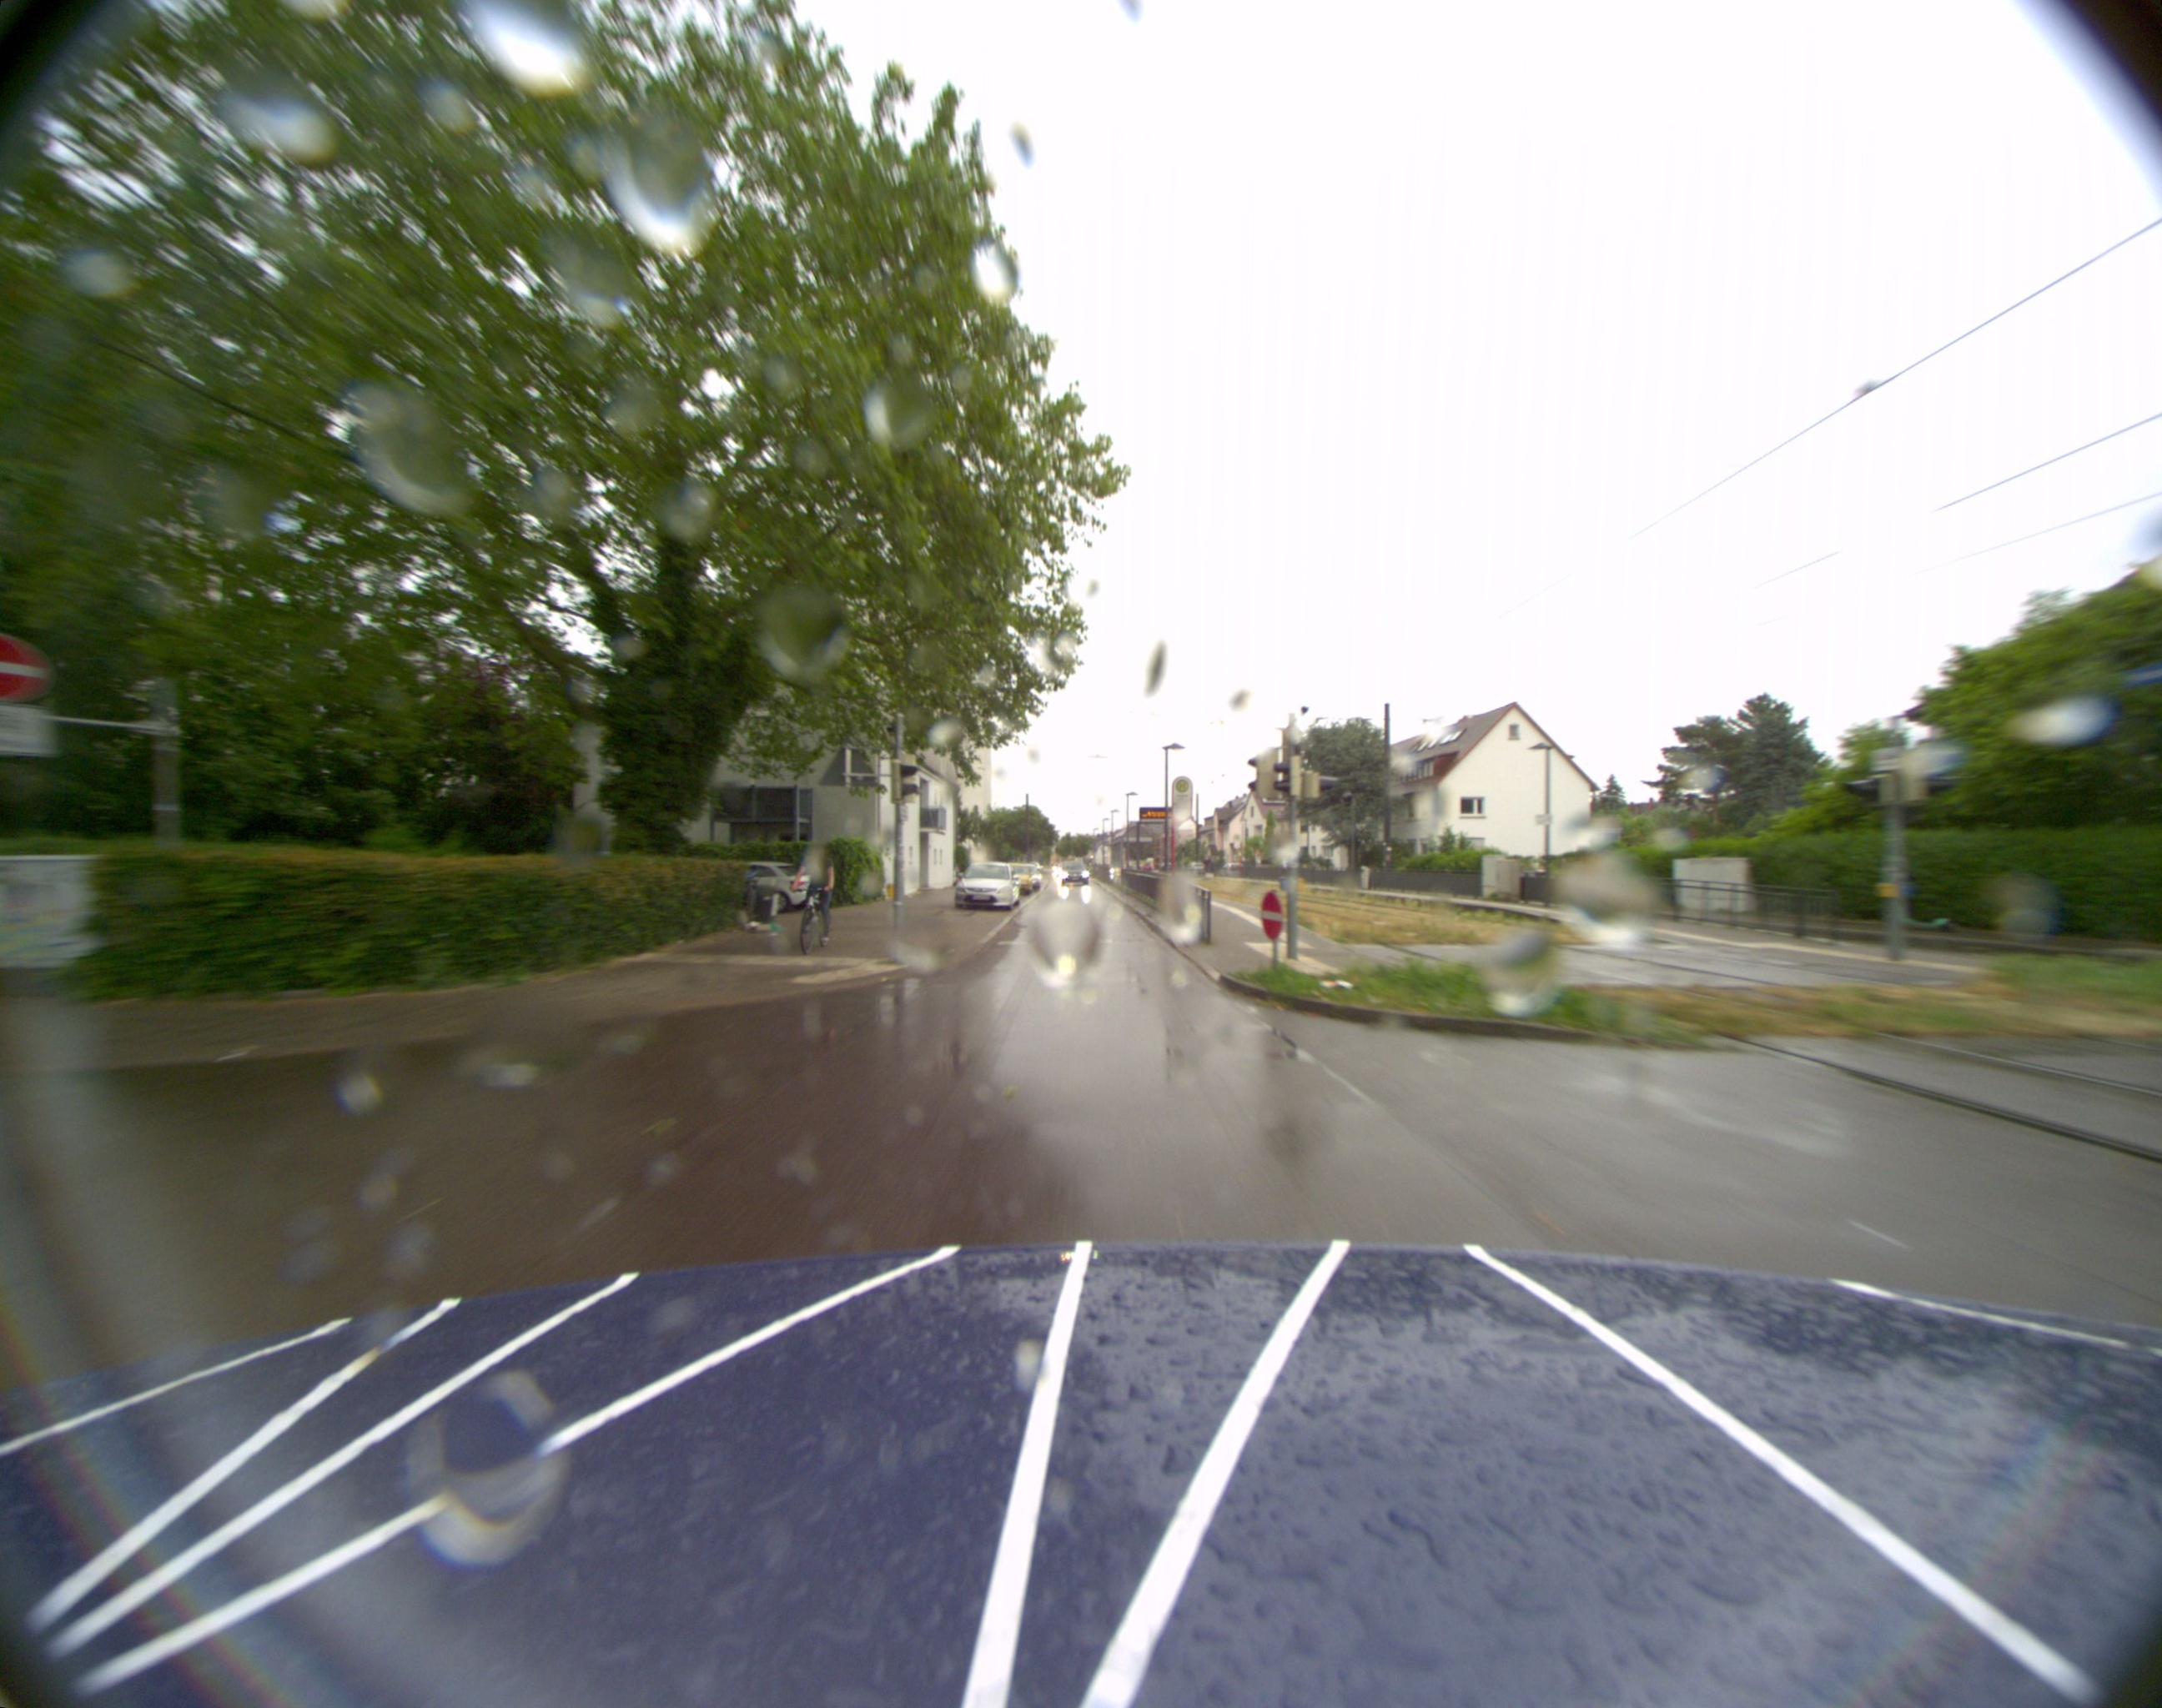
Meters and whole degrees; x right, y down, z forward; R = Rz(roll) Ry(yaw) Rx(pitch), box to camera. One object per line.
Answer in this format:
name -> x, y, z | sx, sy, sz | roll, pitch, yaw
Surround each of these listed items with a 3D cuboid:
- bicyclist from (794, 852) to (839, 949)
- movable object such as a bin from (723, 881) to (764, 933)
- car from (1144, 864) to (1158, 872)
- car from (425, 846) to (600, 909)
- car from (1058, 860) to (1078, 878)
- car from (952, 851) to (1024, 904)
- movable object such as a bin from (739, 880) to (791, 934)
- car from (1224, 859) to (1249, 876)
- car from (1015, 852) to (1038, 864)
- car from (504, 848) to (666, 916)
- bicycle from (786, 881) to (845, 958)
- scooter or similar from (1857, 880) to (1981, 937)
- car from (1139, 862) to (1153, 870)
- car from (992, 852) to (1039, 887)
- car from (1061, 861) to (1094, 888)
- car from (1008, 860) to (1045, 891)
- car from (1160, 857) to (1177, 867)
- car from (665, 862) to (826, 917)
bicyclist -> -4.388, 0.743, 12.636 | 0.536, 1.551, 0.772 | -2, 1, -9
movable object such as a bin -> -7.161, 1.115, 16.136 | 0.537, 1.016, 0.738 | 2, 1, -1
car -> 12.753, 2.492, 138.320 | 1.999, 1.365, 3.841 | -1, 1, -4
car -> -16.822, 0.623, 22.816 | 1.998, 1.645, 4.248 | -1, 1, 0
car -> -1.422, 1.593, 80.458 | 1.999, 1.762, 3.998 | -1, 1, -2
car -> -2.925, 0.688, 24.525 | 1.811, 1.459, 3.793 | 3, 1, 0
movable object such as a bin -> -6.452, 1.075, 15.551 | 0.694, 1.016, 0.824 | 2, 1, -1
car -> 14.808, 1.251, 72.501 | 1.637, 1.485, 3.999 | -1, 1, 0
car -> -7.273, 0.520, 100.847 | 2.570, 1.539, 1.598 | -1, 1, -43
car -> -14.717, 0.748, 22.890 | 1.998, 1.783, 4.248 | -1, 1, 0
bicycle -> -4.390, 1.040, 12.677 | 0.538, 1.087, 1.947 | -2, 1, -8
scooter or similar -> 18.291, 1.157, 16.650 | 0.665, 1.065, 1.866 | -1, 1, 1
car -> 12.253, 2.267, 143.879 | 1.999, 1.401, 4.174 | -1, -1, -4
car -> -2.998, 0.689, 35.513 | 1.811, 1.397, 3.793 | 3, 1, 0
car -> -0.280, 1.365, 51.866 | 1.999, 1.611, 3.998 | -1, 1, -4
car -> -2.899, 1.141, 41.304 | 1.654, 1.397, 4.648 | 3, 1, 0
car -> 13.441, 1.249, 117.325 | 1.842, 1.418, 4.173 | -1, 0, -4
car -> -9.390, 0.972, 21.456 | 3.705, 1.370, 1.760 | -1, 1, 2
